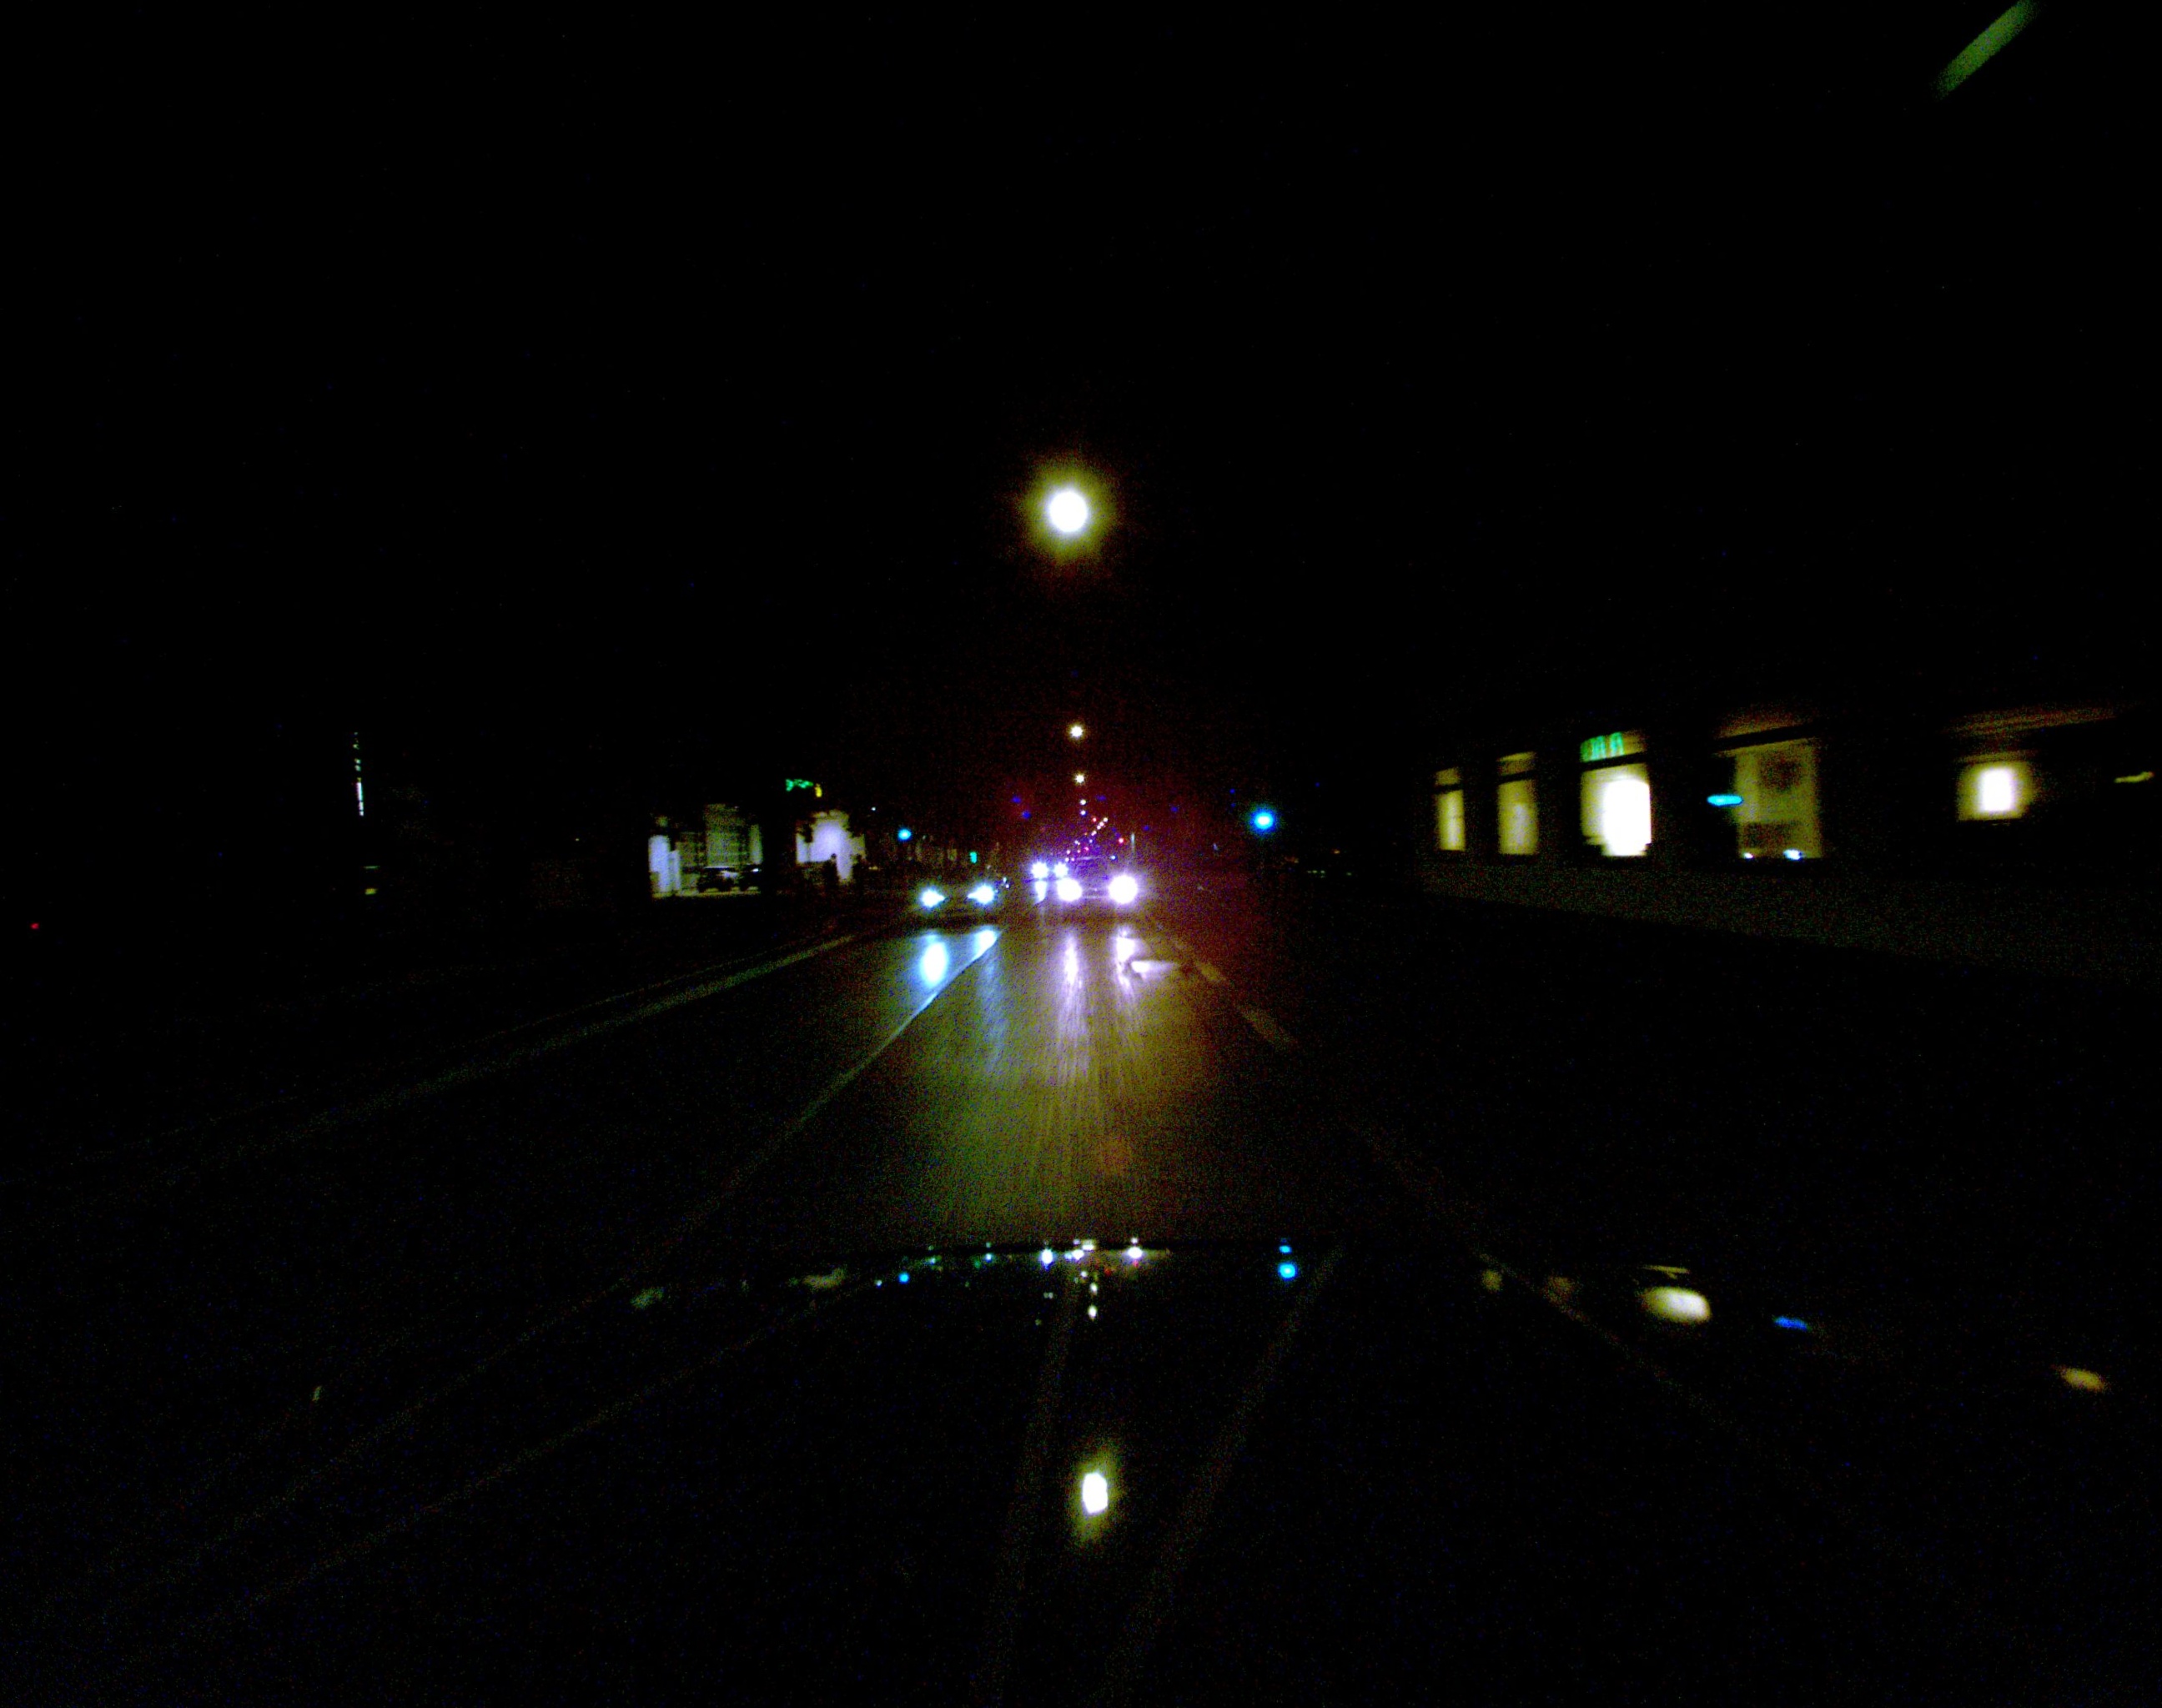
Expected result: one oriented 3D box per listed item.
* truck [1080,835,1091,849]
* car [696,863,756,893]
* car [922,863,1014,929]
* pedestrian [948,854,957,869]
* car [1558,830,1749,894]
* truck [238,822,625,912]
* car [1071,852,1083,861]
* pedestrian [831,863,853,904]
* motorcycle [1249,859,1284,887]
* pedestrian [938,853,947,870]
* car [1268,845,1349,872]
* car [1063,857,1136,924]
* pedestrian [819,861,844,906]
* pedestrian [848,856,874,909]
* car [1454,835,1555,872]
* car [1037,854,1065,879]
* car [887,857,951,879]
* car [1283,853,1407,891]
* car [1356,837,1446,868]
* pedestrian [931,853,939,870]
[{"bbox_3d":[1.467,-4.109,264.154,3.517,4.558,9.039,-4,1,0],"label":"truck"},{"bbox_3d":[-21.495,1.416,46.151,1.731,1.587,3.999,-1,1,-1],"label":"car"},{"bbox_3d":[-2.951,1.042,20.759,1.729,1.421,4.498,-3,1,1],"label":"car"},{"bbox_3d":[-14.084,0.814,83.366,0.737,1.707,0.985,-1,1,1],"label":"pedestrian"},{"bbox_3d":[16.960,0.215,22.726,1.922,1.635,4.102,-5,2,-28],"label":"car"},{"bbox_3d":[-32.832,0.617,38.898,16.821,3.961,3.131,-2,2,0],"label":"truck"},{"bbox_3d":[-0.621,0.332,119.593,1.618,1.259,3.628,-3,0,5],"label":"car"},{"bbox_3d":[-9.248,1.129,29.437,0.574,1.525,0.633,-2,1,1],"label":"pedestrian"},{"bbox_3d":[8.414,0.844,34.603,0.574,1.173,2.029,-2,1,-17],"label":"motorcycle"},{"bbox_3d":[-15.148,0.807,83.304,0.721,1.778,0.970,-1,1,1],"label":"pedestrian"},{"bbox_3d":[14.913,0.260,49.956,4.672,1.620,2.003,-1,1,-1],"label":"car"},{"bbox_3d":[0.490,0.847,19.246,1.634,1.430,3.840,-2,1,2],"label":"car"},{"bbox_3d":[-9.195,1.081,28.011,0.622,1.629,0.679,-2,1,1],"label":"pedestrian"},{"bbox_3d":[-7.679,0.977,26.575,0.623,1.801,0.759,-2,1,1],"label":"pedestrian"},{"bbox_3d":[22.925,-0.043,41.279,4.349,1.744,1.956,-3,3,3],"label":"car"},{"bbox_3d":[-1.968,0.808,51.280,1.729,1.455,3.999,-1,1,0],"label":"car"},{"bbox_3d":[-11.417,0.977,53.810,4.092,1.446,1.786,-1,1,0],"label":"car"},{"bbox_3d":[10.841,0.701,31.547,1.896,1.416,4.718,-1,1,-31],"label":"car"},{"bbox_3d":[21.086,-0.088,50.212,5.001,1.879,2.028,-2,0,-1],"label":"car"},{"bbox_3d":[-16.018,0.833,83.362,0.676,1.806,0.906,-1,1,1],"label":"pedestrian"}]
